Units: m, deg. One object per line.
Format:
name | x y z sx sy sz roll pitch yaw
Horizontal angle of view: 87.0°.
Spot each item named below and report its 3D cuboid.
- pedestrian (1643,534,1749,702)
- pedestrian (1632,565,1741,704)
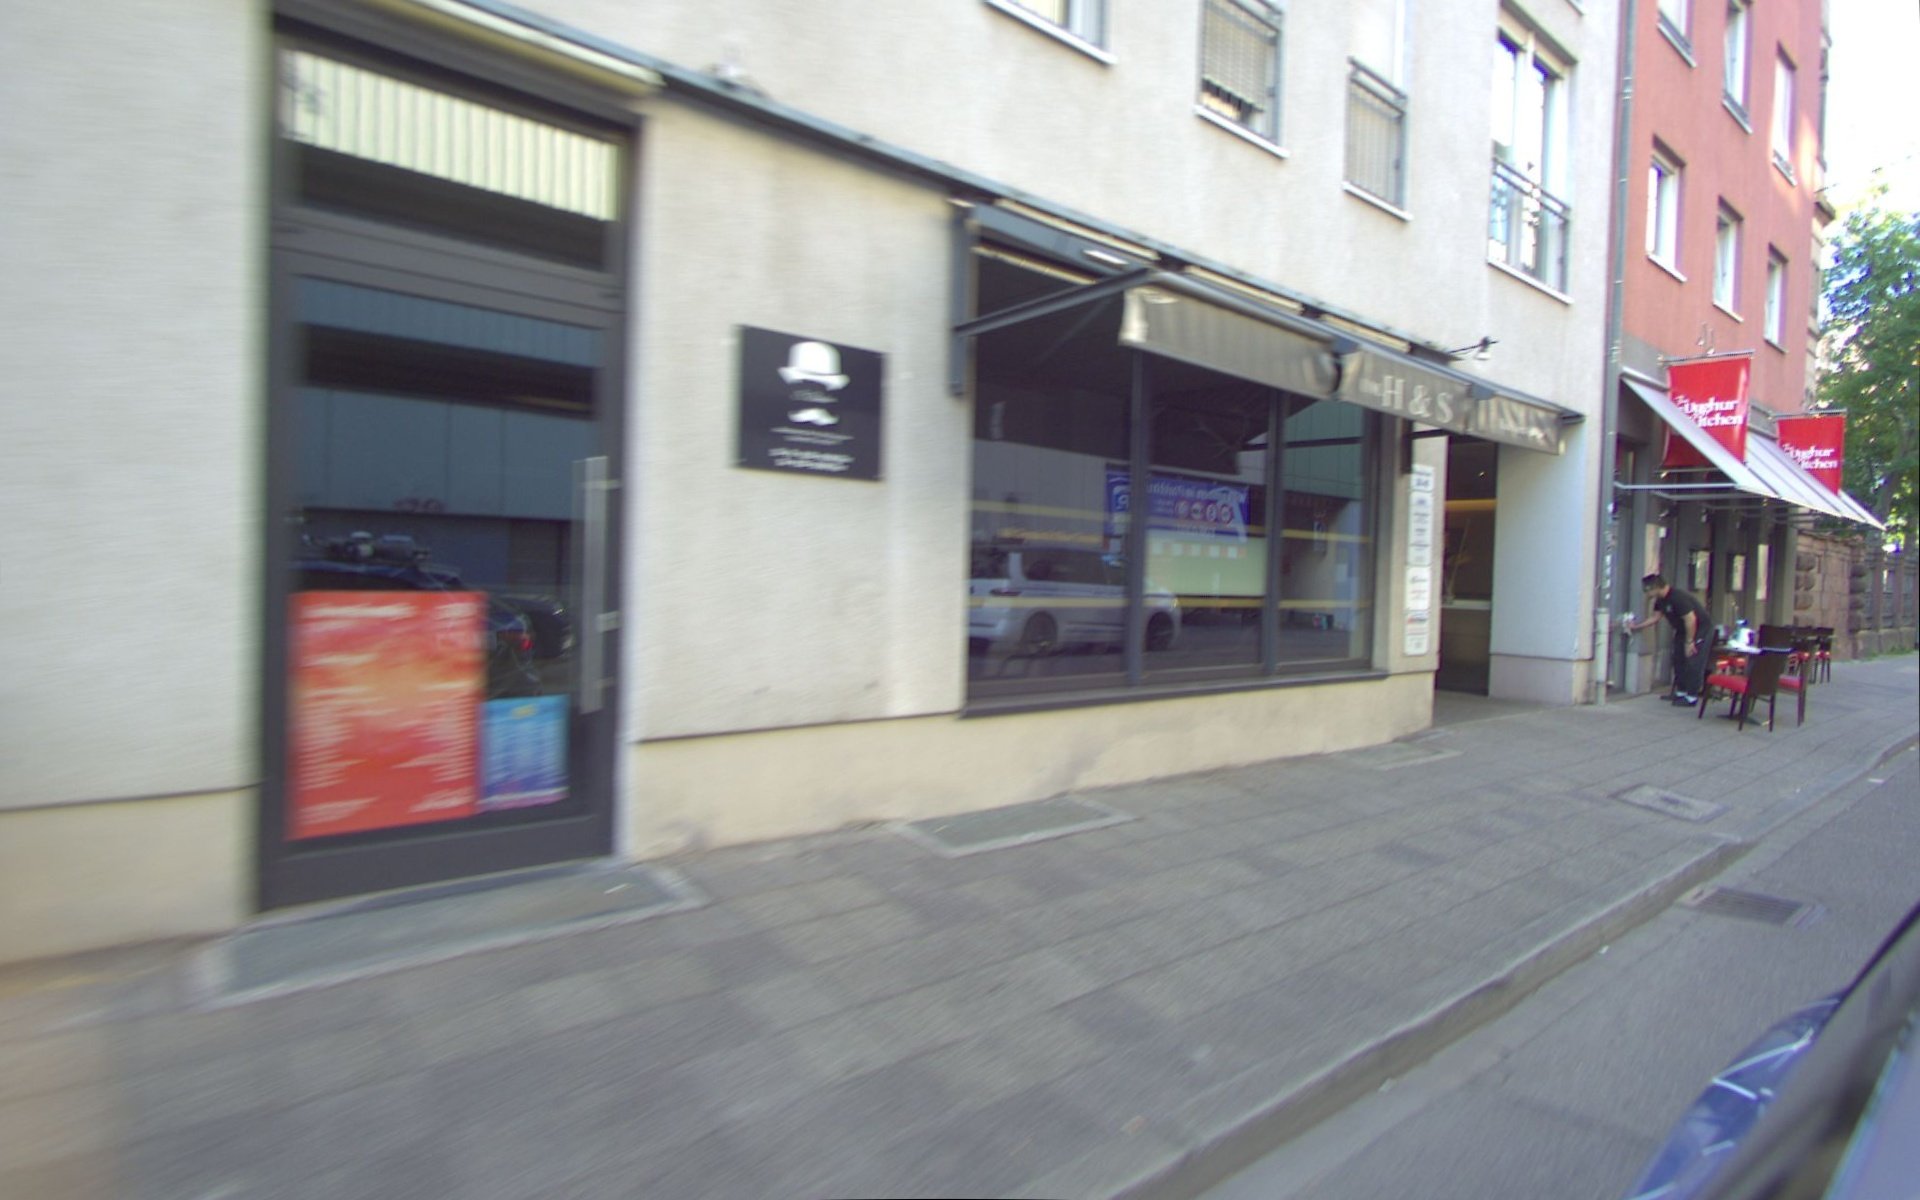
pedestrian | 8.371 0.175 11.550 0.652 1.814 0.726 5 4 20
pedestrian | 8.291 0.365 11.554 0.649 1.504 0.827 1 2 -40
